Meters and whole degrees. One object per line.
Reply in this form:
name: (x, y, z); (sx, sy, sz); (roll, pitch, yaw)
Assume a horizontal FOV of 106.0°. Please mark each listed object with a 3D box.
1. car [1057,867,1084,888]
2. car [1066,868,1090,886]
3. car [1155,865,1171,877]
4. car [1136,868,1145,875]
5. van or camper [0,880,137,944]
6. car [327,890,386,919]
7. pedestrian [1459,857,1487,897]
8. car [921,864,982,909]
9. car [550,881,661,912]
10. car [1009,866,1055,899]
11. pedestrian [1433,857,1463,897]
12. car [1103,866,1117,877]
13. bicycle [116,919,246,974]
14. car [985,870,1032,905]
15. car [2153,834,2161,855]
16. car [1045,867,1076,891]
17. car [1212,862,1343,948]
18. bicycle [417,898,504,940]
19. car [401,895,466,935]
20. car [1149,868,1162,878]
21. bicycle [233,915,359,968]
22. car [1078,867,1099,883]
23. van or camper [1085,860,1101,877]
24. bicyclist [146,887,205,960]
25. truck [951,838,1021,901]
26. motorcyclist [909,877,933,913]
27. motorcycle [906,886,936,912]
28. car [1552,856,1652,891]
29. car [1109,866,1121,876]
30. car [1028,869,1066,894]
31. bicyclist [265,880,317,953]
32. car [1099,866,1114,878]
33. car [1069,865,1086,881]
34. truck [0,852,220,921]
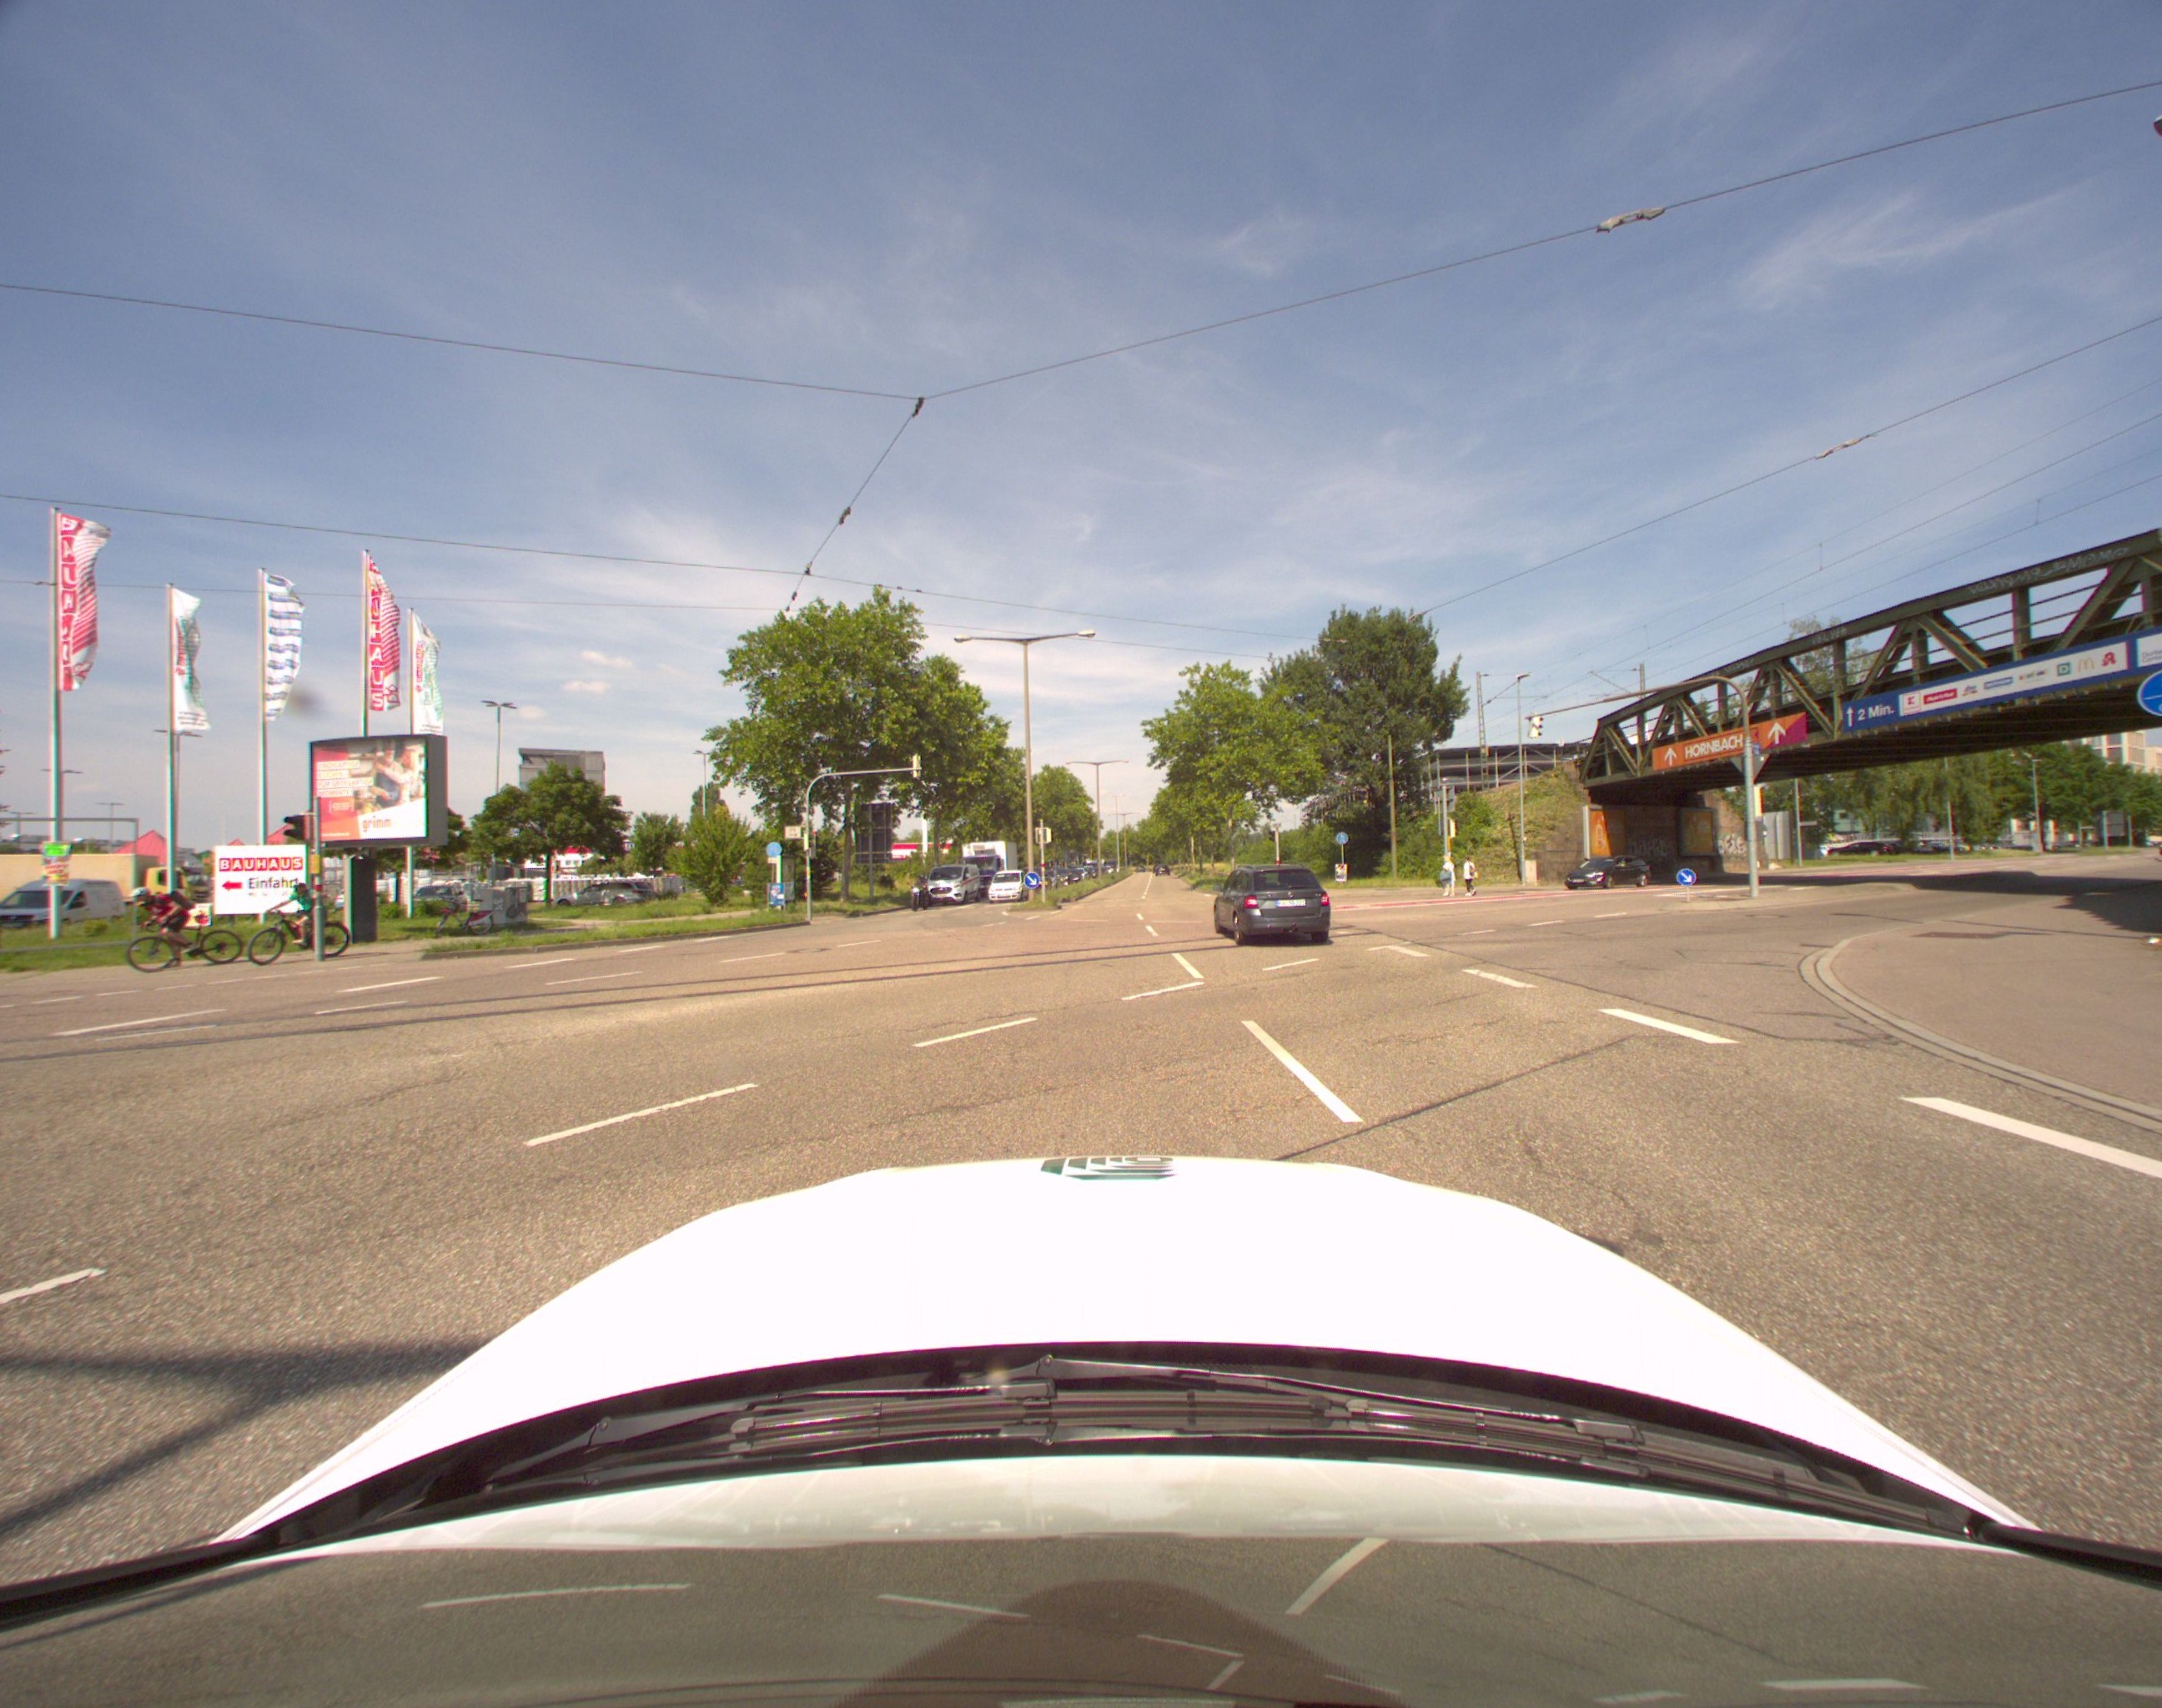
car: (-0.801, 1.883, 65.899); (1.681, 1.473, 4.224); (-4, -1, 5)
car: (-0.267, 1.988, 71.517); (1.681, 1.472, 3.820); (-3, -1, 5)
car: (10.312, 2.124, 102.342); (1.899, 1.463, 4.626); (-1, 0, 4)
car: (12.787, 3.794, 175.322); (1.901, 1.463, 4.584); (-1, 0, 2)
van or camper: (-39.144, 2.125, 31.107); (2.202, 2.210, 5.467); (-1, -1, -29)
car: (-42.944, 2.954, 48.345); (1.827, 1.572, 4.237); (-1, -1, -31)
pedestrian: (15.814, 0.903, 32.882); (0.726, 1.579, 0.778); (-1, -1, 4)
car: (-6.311, 1.539, 40.250); (1.968, 1.999, 5.035); (-2, -1, 3)
car: (-25.158, 2.236, 43.242); (4.550, 1.414, 2.199); (-1, -1, -3)
car: (-2.658, 1.579, 45.156); (1.811, 1.647, 4.700); (-3, -2, 5)
pedestrian: (14.860, 0.930, 33.004); (0.864, 1.612, 0.778); (-1, -1, 4)
car: (4.198, 2.524, 118.129); (1.681, 1.510, 3.820); (-3, -1, 5)
bicycle: (-18.096, 1.842, 16.435); (0.430, 0.937, 1.757); (-2, -1, 14)
car: (-3.448, 1.566, 39.266); (1.585, 1.477, 3.734); (-3, -1, 5)
car: (105.941, -0.951, 78.842); (4.010, 2.014, 1.981); (-1, -1, -28)
car: (-1.417, 1.764, 58.578); (1.681, 1.587, 4.246); (-3, -1, 5)
car: (3.676, 0.887, 15.903); (1.668, 1.453, 4.036); (0, -1, 1)
bicycle: (-17.357, 1.810, 22.840); (0.589, 1.037, 1.904); (-2, -1, 19)
car: (-29.438, 2.732, 37.128); (2.211, 1.572, 4.525); (-1, -1, -38)
car: (12.362, 3.189, 135.873); (1.901, 1.463, 4.584); (-1, 0, 2)
bicycle: (-16.700, 1.832, 17.396); (0.413, 0.937, 2.005); (-2, -1, 14)
car: (0.811, 2.167, 84.183); (1.776, 1.489, 4.215); (-3, -1, 4)
van or camper: (1.936, 2.338, 132.820); (2.005, 2.588, 5.524); (-3, -1, 5)
bicyclist: (-18.201, 1.390, 16.381); (0.523, 1.414, 0.612); (-2, -1, 15)
truck: (-5.714, 0.927, 50.224); (2.790, 3.471, 6.700); (-3, -1, 5)
motorcyclist: (-6.905, 1.755, 35.193); (0.739, 1.470, 0.989); (-2, -1, 5)
motorcycle: (-6.874, 1.937, 35.101); (0.684, 0.991, 2.220); (-2, -1, 5)
car: (23.372, 0.870, 36.521); (4.516, 1.409, 1.980); (-1, -1, -32)
car: (5.583, 2.817, 134.715); (1.681, 1.530, 3.819); (-3, -2, 5)
car: (-2.127, 1.721, 51.989); (1.788, 1.468, 4.529); (-3, -1, 5)
bicyclist: (-16.787, 1.315, 17.311); (0.524, 1.491, 0.611); (-2, -1, 13)
car: (3.498, 2.472, 111.696); (1.775, 1.459, 4.478); (-2, -1, 5)
car: (-0.462, 2.466, 105.498); (1.681, 1.858, 4.042); (-3, -1, 5)
truck: (-52.473, 1.651, 43.116); (8.957, 3.311, 3.128); (-1, -1, -33)
